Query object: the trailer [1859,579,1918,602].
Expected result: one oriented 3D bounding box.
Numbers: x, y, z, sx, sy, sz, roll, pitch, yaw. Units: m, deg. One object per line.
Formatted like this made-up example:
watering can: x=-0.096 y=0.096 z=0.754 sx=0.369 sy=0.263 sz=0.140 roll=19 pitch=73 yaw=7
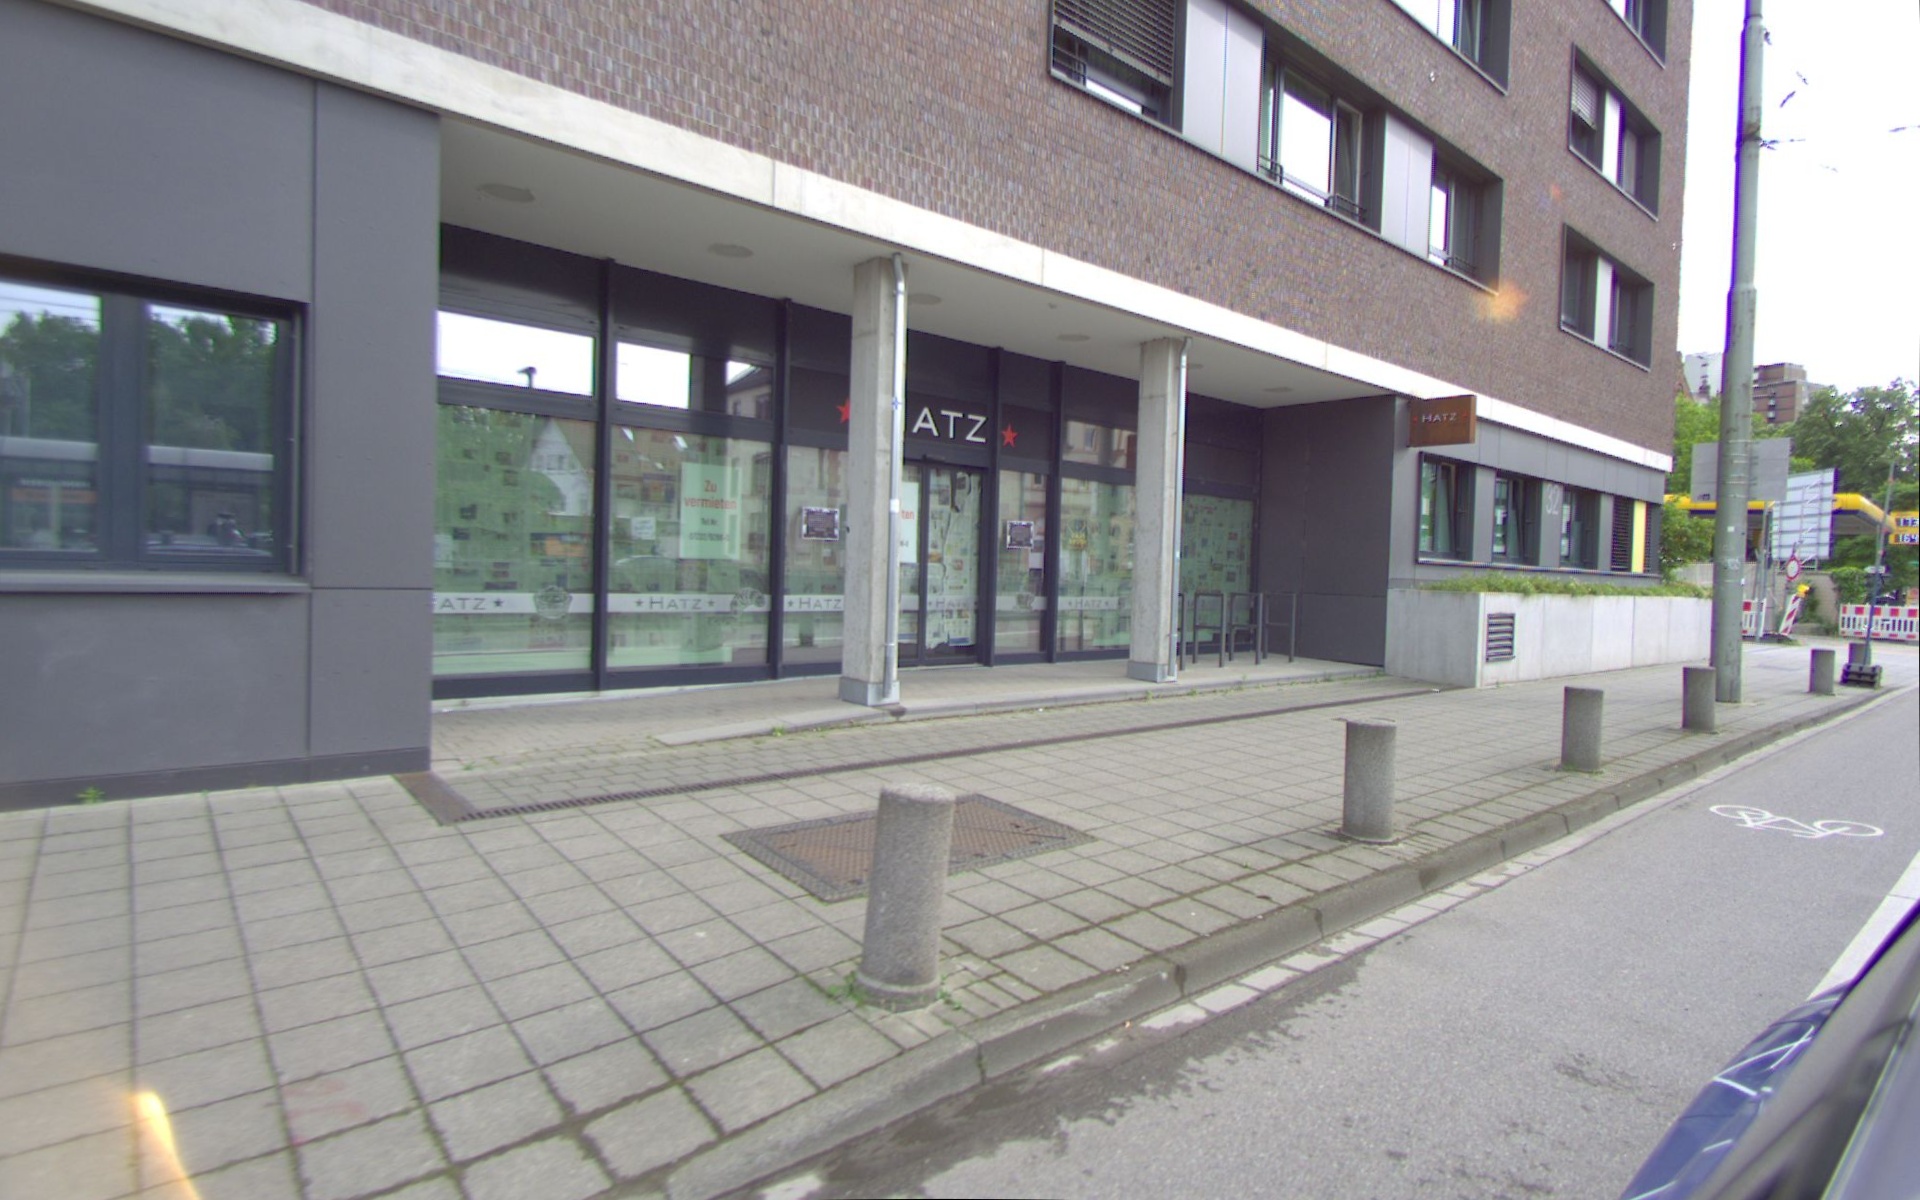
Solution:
trailer: x=72.595 y=-0.744 z=79.183 sx=3.283 sy=1.549 sz=1.747 roll=5 pitch=6 yaw=43
